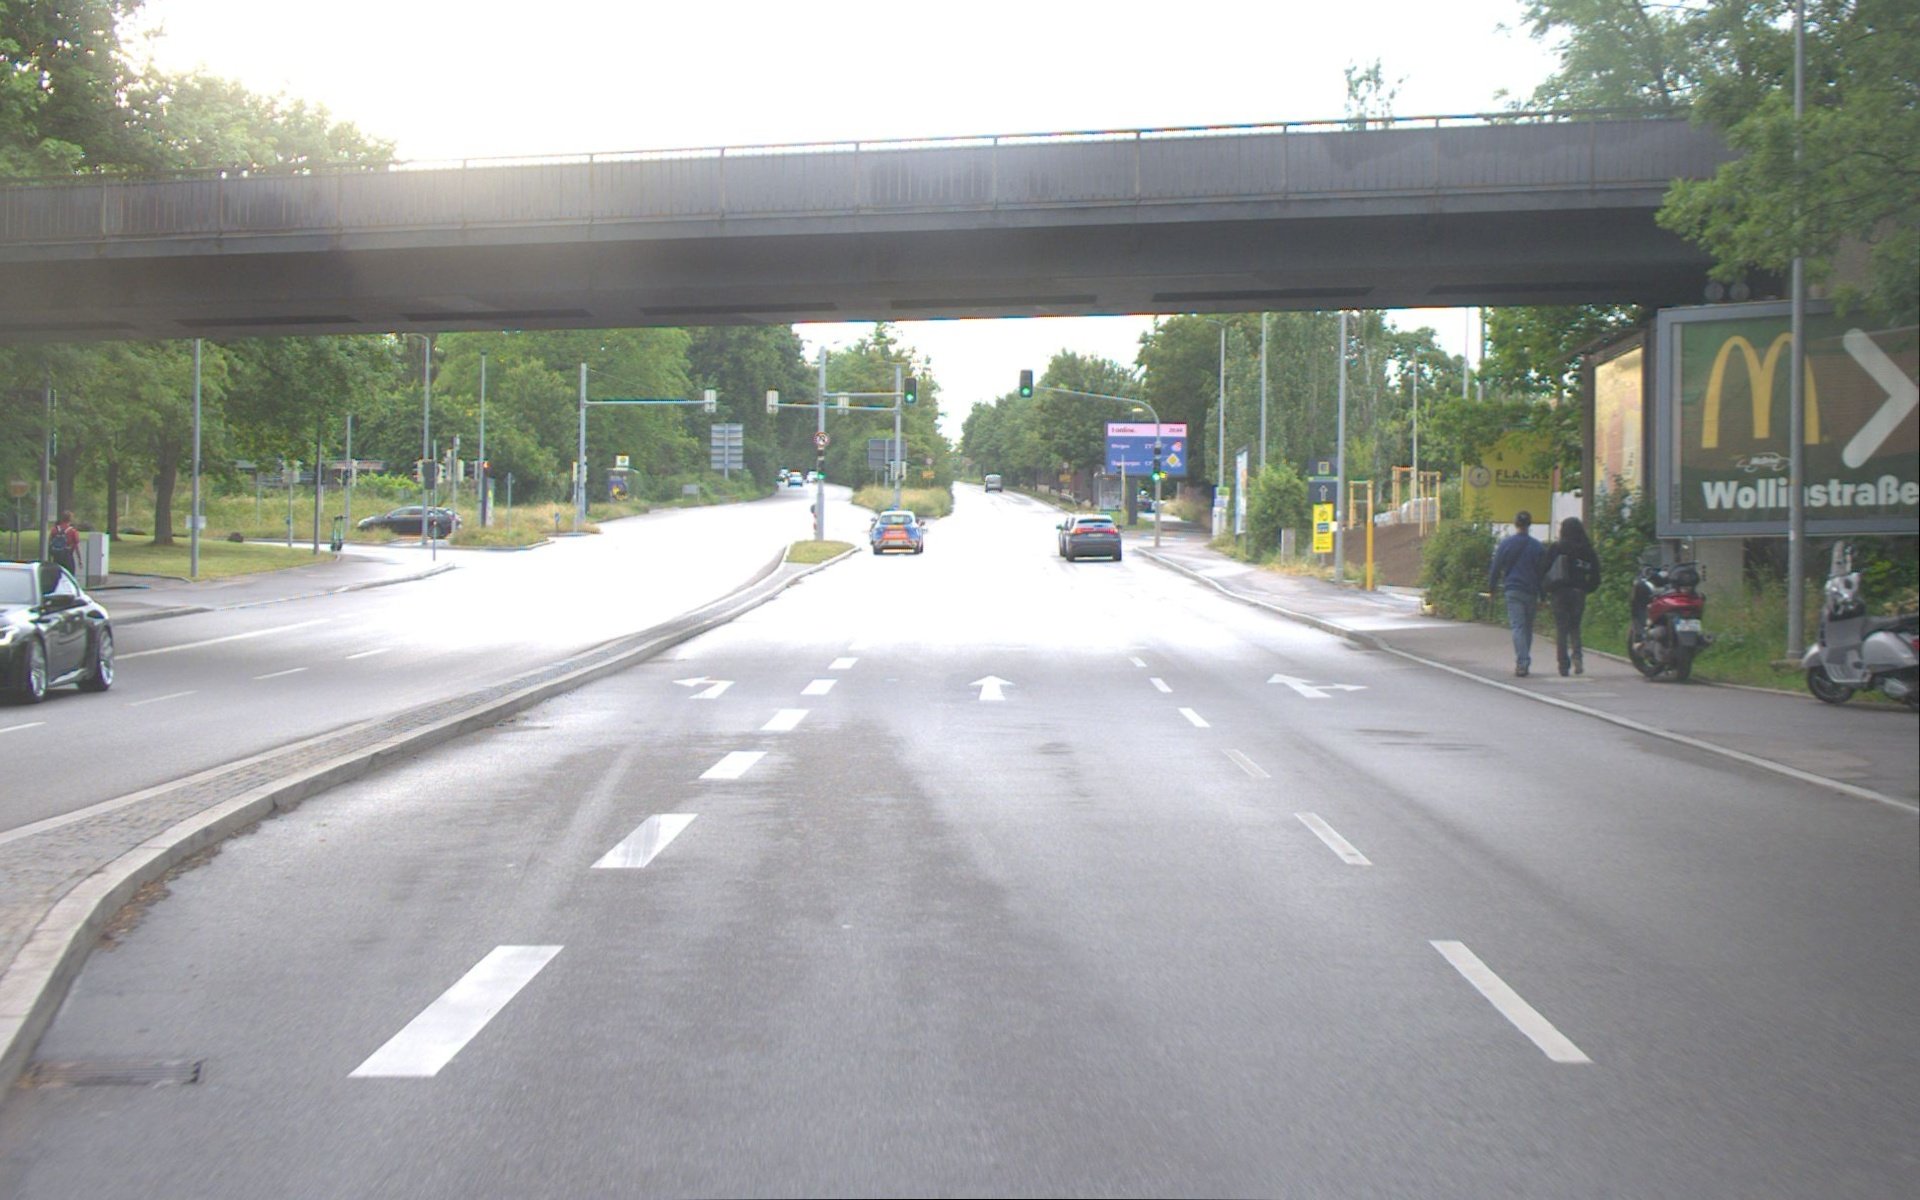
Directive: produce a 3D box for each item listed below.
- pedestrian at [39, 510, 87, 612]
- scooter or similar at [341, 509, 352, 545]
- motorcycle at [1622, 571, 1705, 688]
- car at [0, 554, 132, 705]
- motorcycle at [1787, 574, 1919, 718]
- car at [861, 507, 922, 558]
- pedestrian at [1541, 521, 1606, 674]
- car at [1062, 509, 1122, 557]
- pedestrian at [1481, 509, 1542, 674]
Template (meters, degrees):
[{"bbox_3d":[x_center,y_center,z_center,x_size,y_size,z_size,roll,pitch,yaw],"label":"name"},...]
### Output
[{"bbox_3d":[-16.093,-0.697,61.681,0.520,1.809,0.799,1,1,11],"label":"pedestrian"},{"bbox_3d":[-21.595,-2.574,120.946,0.311,1.214,1.308,0,2,-13],"label":"scooter or similar"},{"bbox_3d":[7.076,0.284,34.640,0.469,1.133,1.819,0,1,0],"label":"motorcycle"},{"bbox_3d":[-9.790,0.242,34.070,2.063,1.357,4.757,0,1,-1],"label":"car"},{"bbox_3d":[8.007,0.384,30.267,0.469,1.209,1.945,0,1,-18],"label":"motorcycle"},{"bbox_3d":[-2.476,-2.400,123.474,2.076,1.712,4.198,2,0,-1],"label":"car"},{"bbox_3d":[6.418,-0.031,35.949,0.651,1.590,0.578,0,1,12],"label":"pedestrian"},{"bbox_3d":[4.271,-2.194,111.598,1.745,1.465,4.166,1,2,0],"label":"car"},{"bbox_3d":[5.806,-0.091,36.199,0.611,1.715,0.891,0,1,11],"label":"pedestrian"}]
